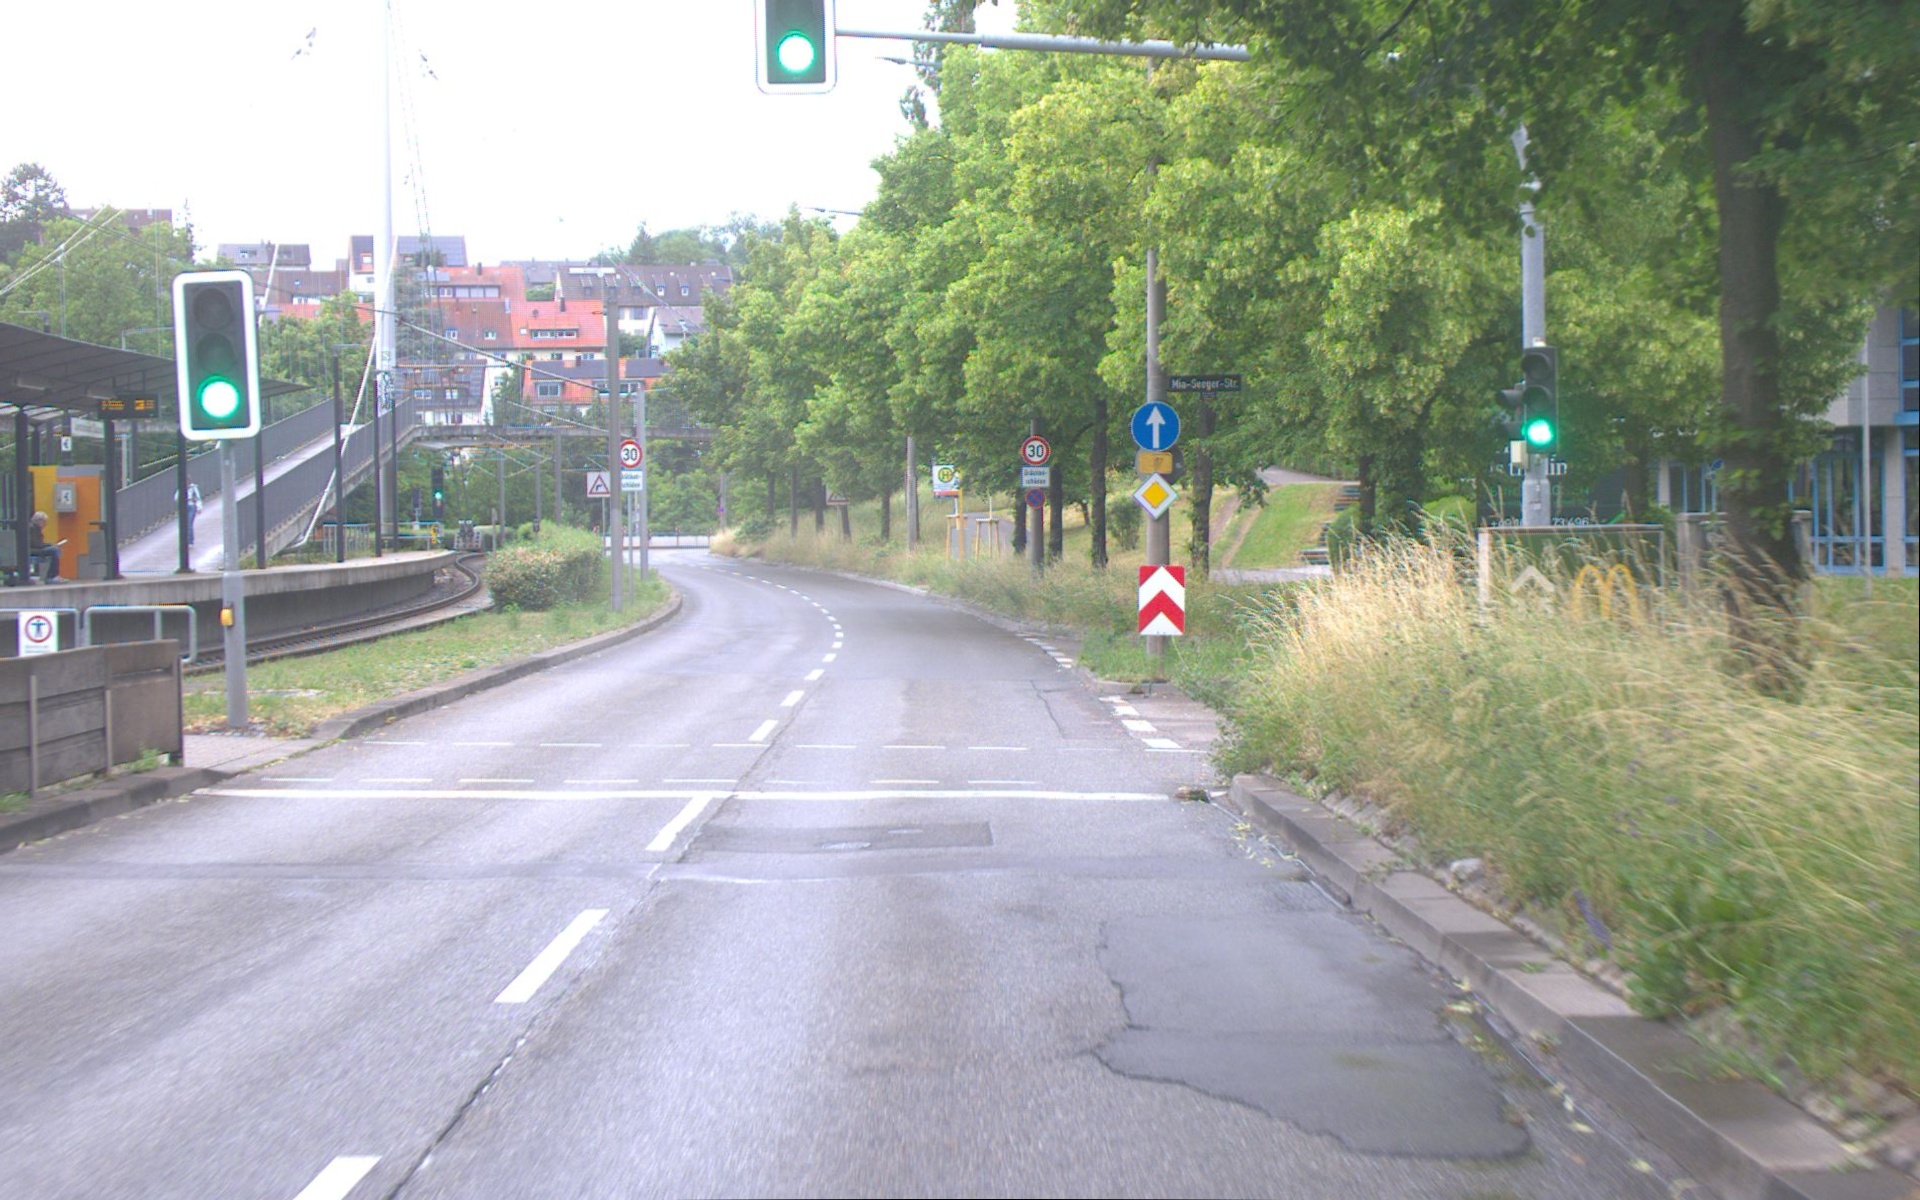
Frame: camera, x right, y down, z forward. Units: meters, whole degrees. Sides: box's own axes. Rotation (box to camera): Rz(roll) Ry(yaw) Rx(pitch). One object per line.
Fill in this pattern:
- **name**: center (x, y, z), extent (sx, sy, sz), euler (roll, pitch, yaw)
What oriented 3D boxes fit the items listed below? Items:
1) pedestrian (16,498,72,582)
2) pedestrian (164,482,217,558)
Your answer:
- **pedestrian**: center (-14.702, -0.964, 55.181), extent (0.752, 1.351, 0.692), euler (0, 1, -4)
- **pedestrian**: center (-16.363, -1.701, 73.122), extent (0.935, 1.605, 1.027), euler (0, 1, -4)
